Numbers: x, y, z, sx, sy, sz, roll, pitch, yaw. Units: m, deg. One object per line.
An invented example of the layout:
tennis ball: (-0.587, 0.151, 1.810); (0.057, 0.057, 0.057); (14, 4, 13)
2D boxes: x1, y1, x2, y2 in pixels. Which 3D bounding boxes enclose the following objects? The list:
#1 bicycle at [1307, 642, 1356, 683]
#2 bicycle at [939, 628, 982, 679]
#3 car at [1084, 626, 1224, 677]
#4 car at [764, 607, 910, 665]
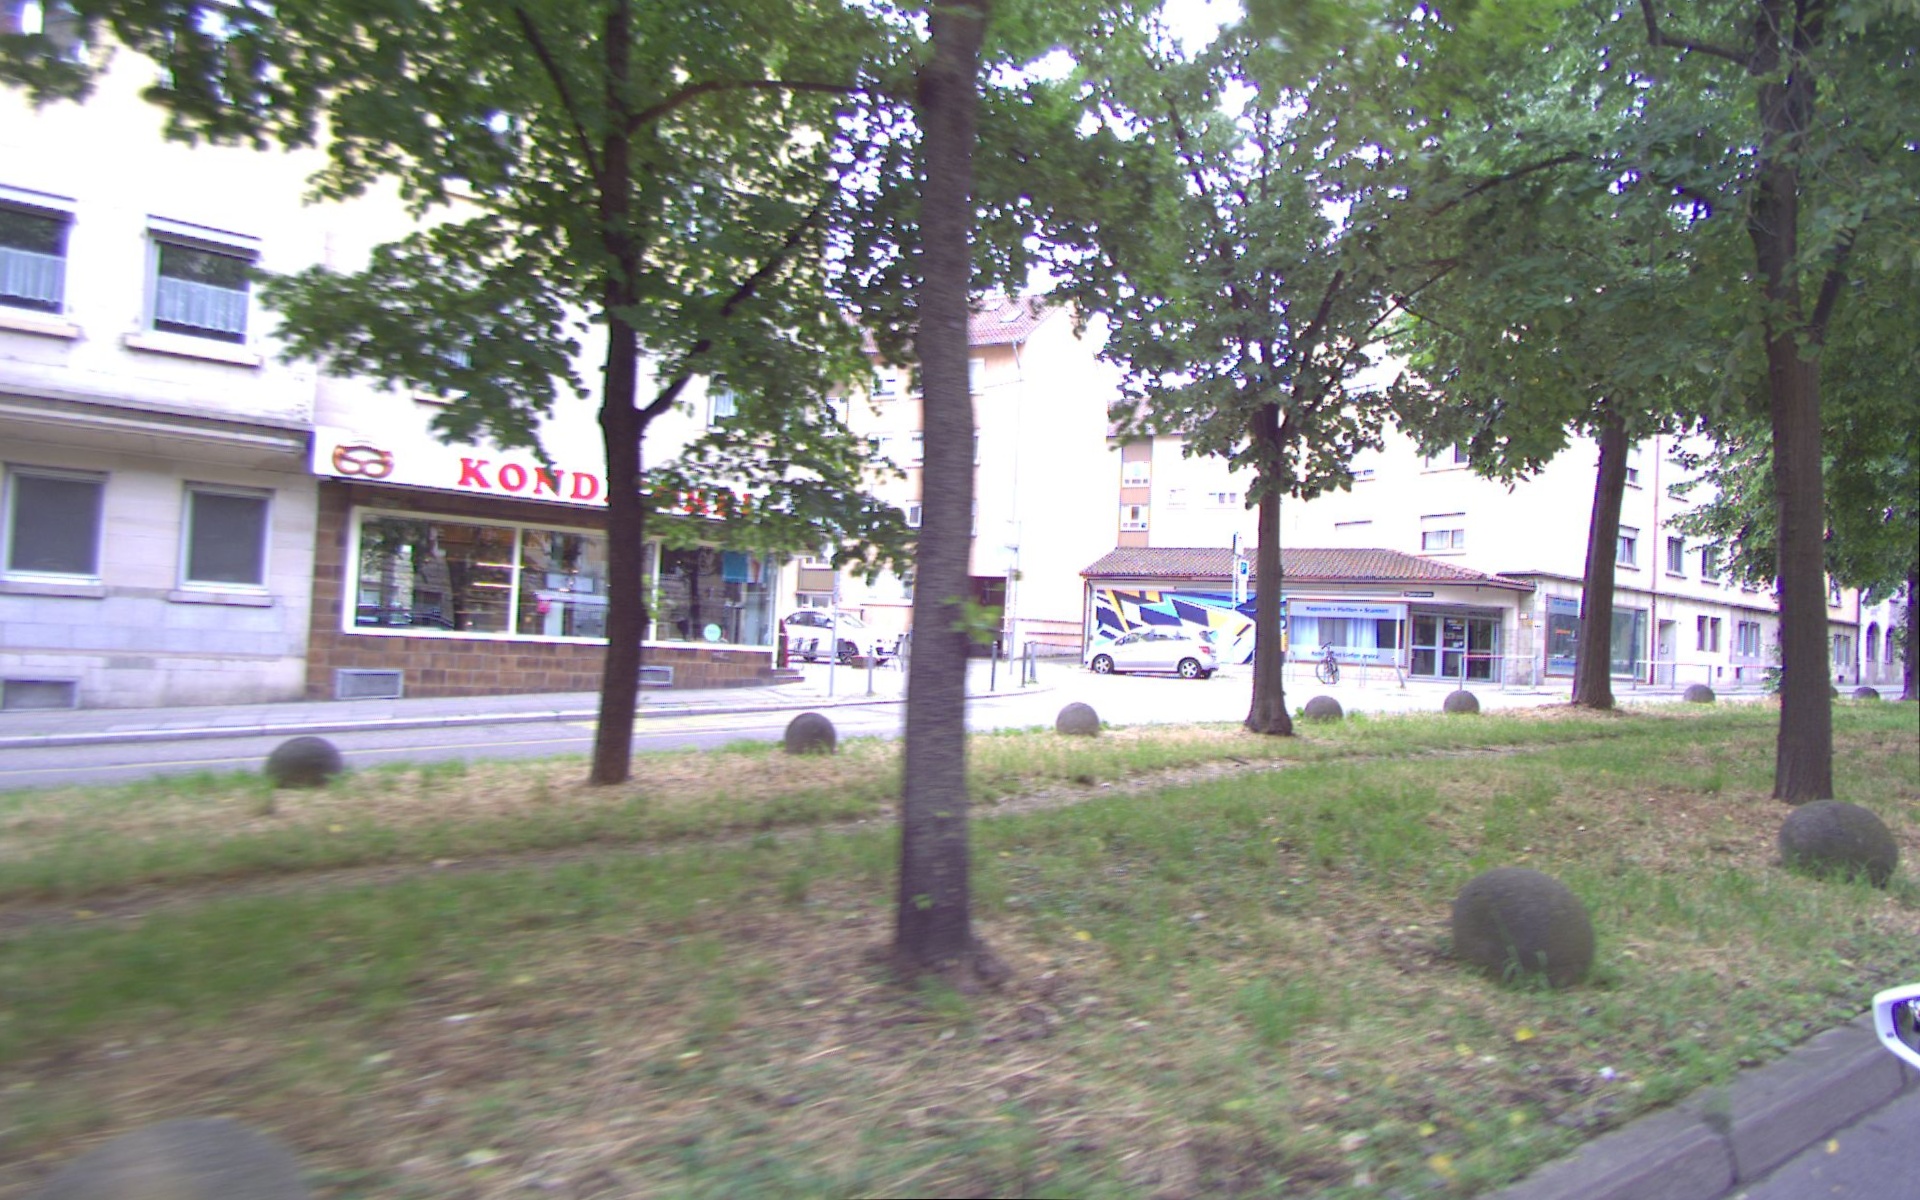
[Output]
bicycle: (10.729, 1.796, 28.959); (0.752, 1.099, 2.029); (2, -1, 37)
bicycle: (-0.023, 1.248, 24.222); (0.851, 1.060, 2.458); (2, 0, -3)
car: (6.091, 1.649, 31.545); (3.967, 1.498, 1.820); (-2, -4, 27)
car: (-3.481, 1.021, 28.468); (3.696, 1.531, 1.820); (0, -3, 27)
